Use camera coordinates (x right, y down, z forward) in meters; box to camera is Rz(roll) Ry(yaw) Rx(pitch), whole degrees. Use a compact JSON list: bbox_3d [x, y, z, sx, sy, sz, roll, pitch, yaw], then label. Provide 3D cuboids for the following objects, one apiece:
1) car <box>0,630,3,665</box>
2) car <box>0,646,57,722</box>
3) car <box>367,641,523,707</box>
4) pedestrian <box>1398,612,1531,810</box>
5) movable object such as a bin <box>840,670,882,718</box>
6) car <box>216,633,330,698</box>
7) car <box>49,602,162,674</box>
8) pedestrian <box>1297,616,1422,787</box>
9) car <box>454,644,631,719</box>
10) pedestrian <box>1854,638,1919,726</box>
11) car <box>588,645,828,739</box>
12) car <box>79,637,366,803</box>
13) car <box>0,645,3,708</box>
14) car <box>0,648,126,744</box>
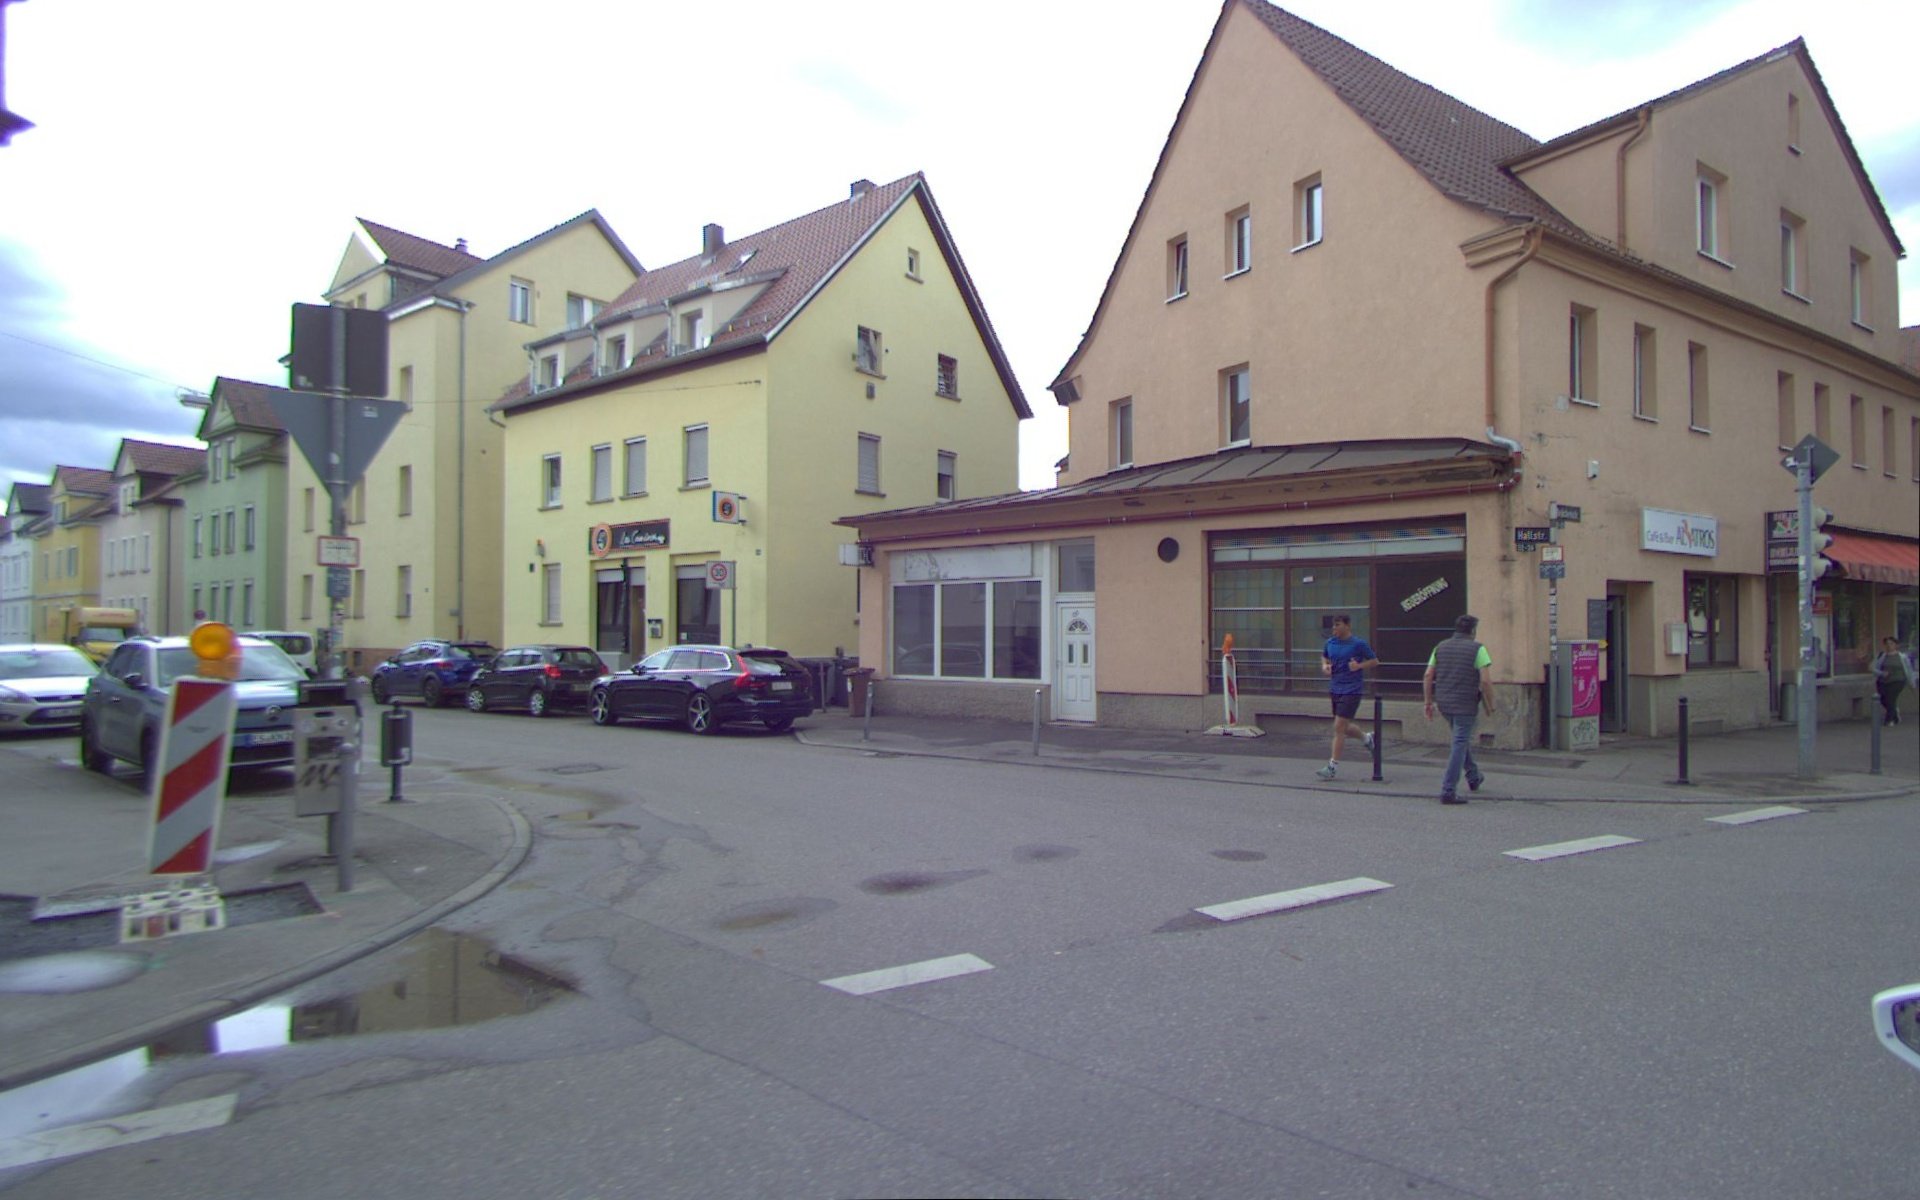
[{"bbox_3d":[-59.075,2.846,60.204,3.940,2.040,1.991,-2,-3,40],"label":"car"},{"bbox_3d":[-20.399,1.741,20.935,3.791,1.473,1.751,-3,-4,39],"label":"car"},{"bbox_3d":[-12.527,1.738,24.385,3.616,1.462,1.906,-2,-3,35],"label":"car"},{"bbox_3d":[4.827,1.017,9.615,0.971,1.777,0.735,1,-1,-31],"label":"pedestrian"},{"bbox_3d":[-1.916,1.809,19.388,0.562,0.890,0.723,2,-3,-29],"label":"movable object such as a bin"},{"bbox_3d":[-21.321,1.979,31.147,3.617,1.904,1.810,-2,-3,37],"label":"car"},{"bbox_3d":[-35.515,1.591,41.662,6.770,2.790,2.316,-2,-3,39],"label":"car"},{"bbox_3d":[4.326,1.053,10.862,1.144,1.740,0.734,1,-1,-33],"label":"pedestrian"},{"bbox_3d":[-9.031,1.691,21.678,3.625,1.462,1.906,-2,-3,35],"label":"car"},{"bbox_3d":[17.045,1.481,18.433,0.972,1.555,0.734,1,-1,-32],"label":"pedestrian"},{"bbox_3d":[-4.539,1.537,17.818,4.320,1.462,1.904,-2,-3,38],"label":"car"},{"bbox_3d":[-8.507,1.219,11.504,3.665,1.571,1.768,-1,-2,39],"label":"car"},{"bbox_3d":[-24.535,1.852,24.131,3.791,1.473,1.751,-3,-4,39],"label":"car"},{"bbox_3d":[-15.898,1.594,17.209,3.791,1.473,1.751,-3,-4,39],"label":"car"}]
